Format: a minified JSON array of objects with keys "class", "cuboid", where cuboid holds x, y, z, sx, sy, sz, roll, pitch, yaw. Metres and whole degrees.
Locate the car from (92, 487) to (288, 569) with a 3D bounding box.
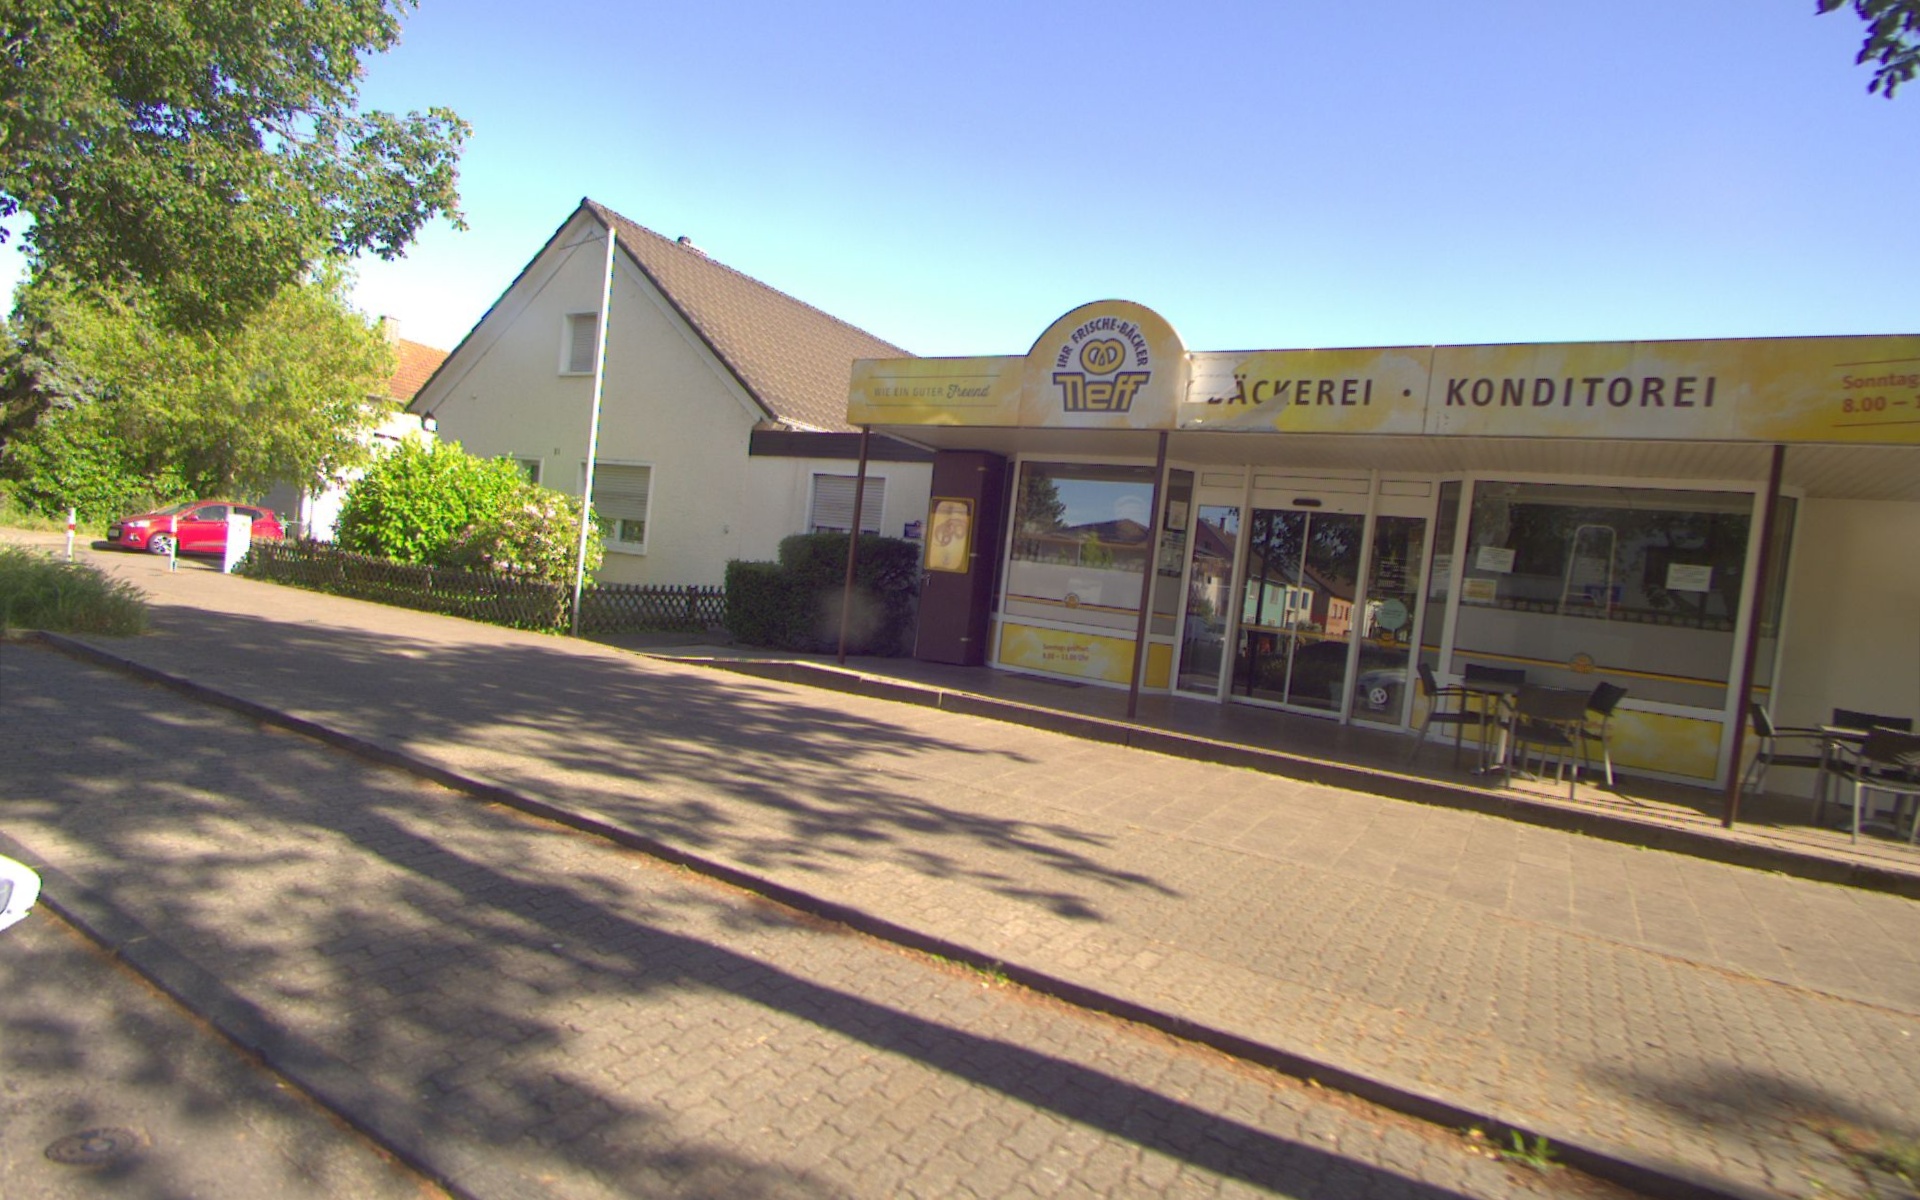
[{"class":"car","cuboid":[-19.584,-1.793,25.737,1.611,1.529,3.547,8,1,27]}]
